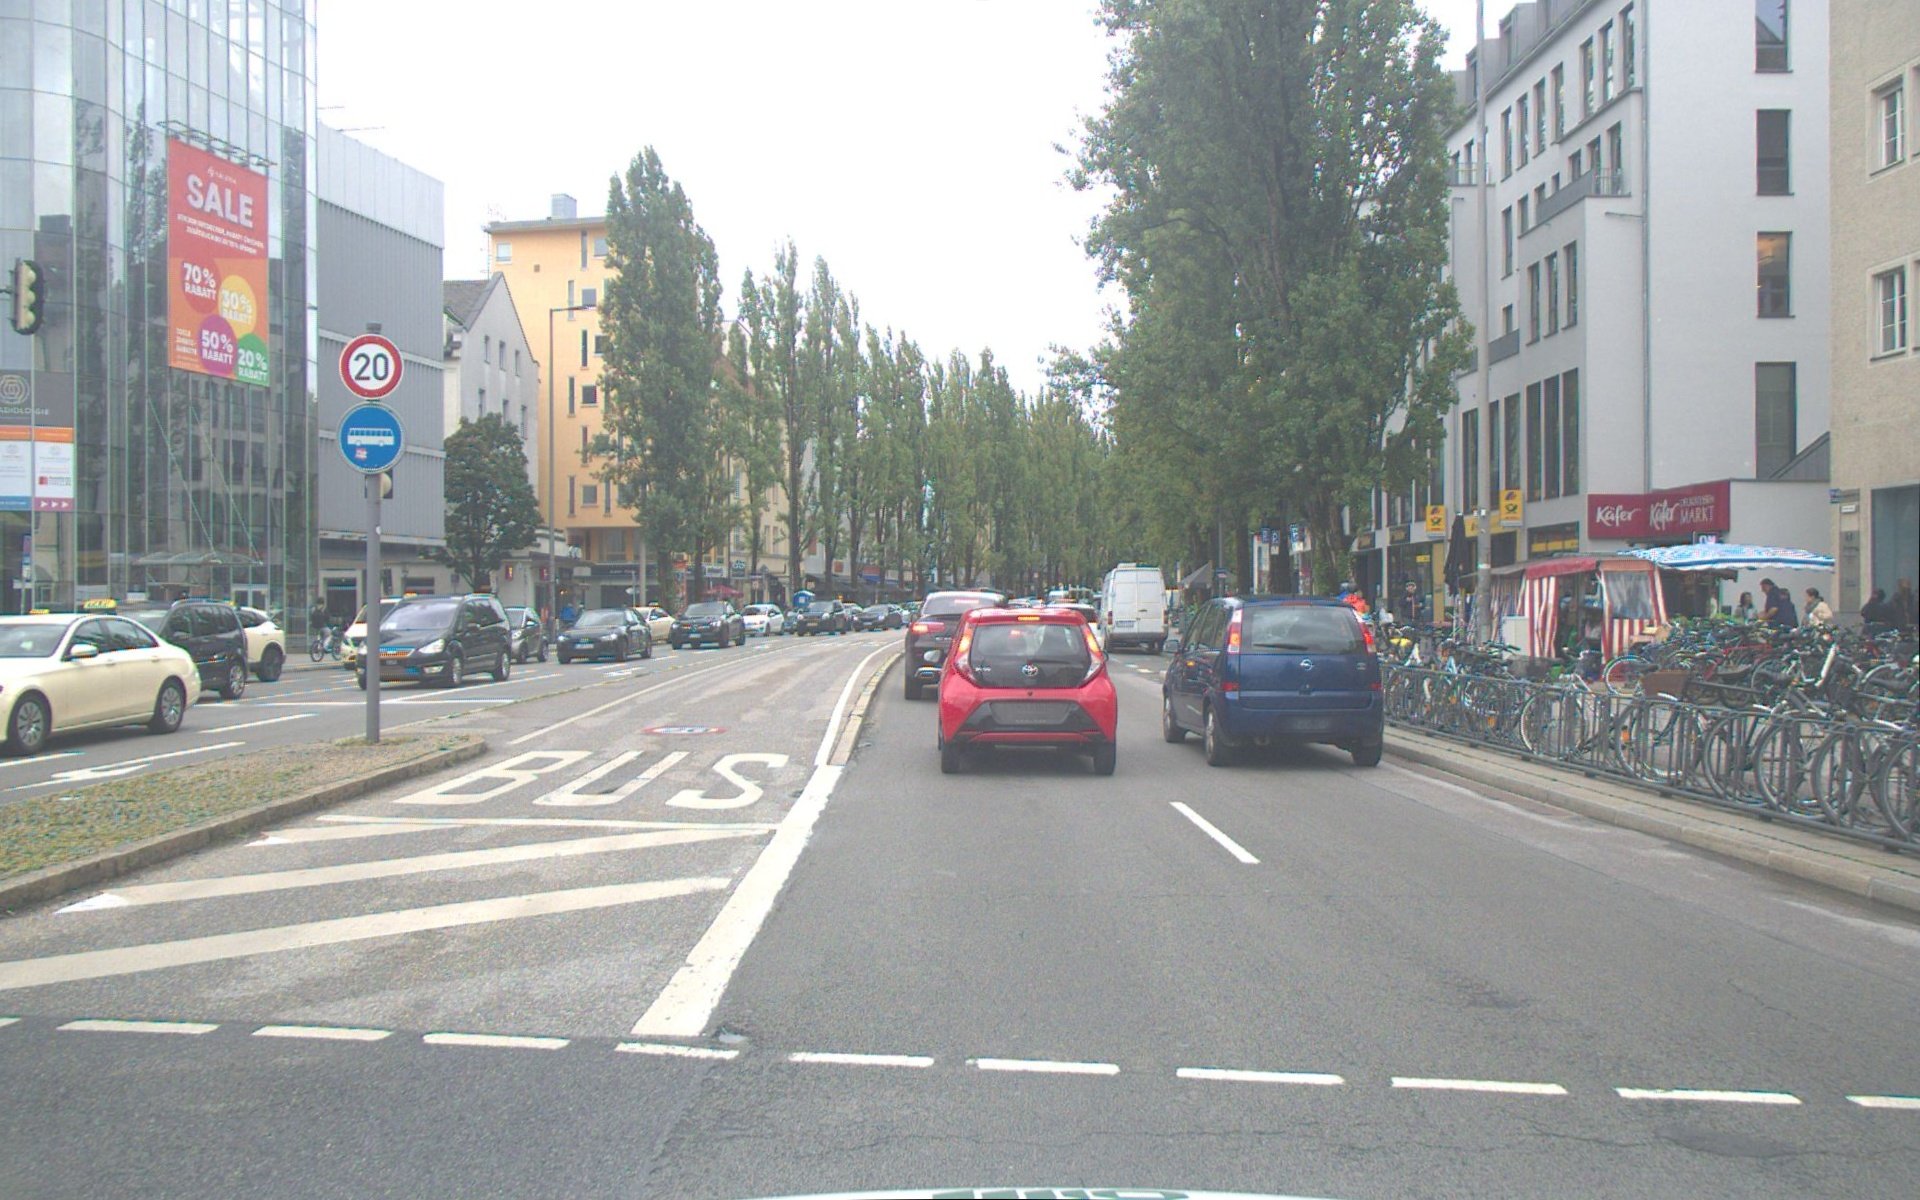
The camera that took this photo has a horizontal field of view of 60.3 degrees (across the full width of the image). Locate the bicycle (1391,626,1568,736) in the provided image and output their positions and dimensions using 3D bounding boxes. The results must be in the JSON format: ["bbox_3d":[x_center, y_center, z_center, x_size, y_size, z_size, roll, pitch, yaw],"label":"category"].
[{"bbox_3d":[5.668,0.859,18.119,1.773,1.130,0.583,0,0,42],"label":"bicycle"}]

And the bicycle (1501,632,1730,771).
[{"bbox_3d":[5.776,0.865,14.617,1.769,1.130,0.649,-1,0,37],"label":"bicycle"}]

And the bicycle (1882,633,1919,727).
[{"bbox_3d":[10.507,0.846,17.648,1.110,0.980,0.369,-1,0,5],"label":"bicycle"}]

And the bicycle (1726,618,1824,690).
[{"bbox_3d":[11.740,0.769,23.833,1.219,0.998,0.369,-1,0,-3],"label":"bicycle"}]

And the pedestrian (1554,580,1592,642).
[{"bbox_3d":[16.351,0.301,44.117,0.717,1.630,0.742,-1,0,-1],"label":"pedestrian"}]

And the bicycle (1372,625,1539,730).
[{"bbox_3d":[5.606,0.856,18.783,1.773,1.130,0.488,0,0,42],"label":"bicycle"}]

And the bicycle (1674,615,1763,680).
[{"bbox_3d":[11.791,0.733,25.725,1.219,0.980,0.369,-1,0,-3],"label":"bicycle"}]

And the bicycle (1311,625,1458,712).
[{"bbox_3d":[5.532,0.875,21.635,1.805,1.070,0.583,0,0,42],"label":"bicycle"}]

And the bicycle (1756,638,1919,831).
[{"bbox_3d":[6.063,0.844,10.528,1.765,1.178,0.486,-1,0,29],"label":"bicycle"}]

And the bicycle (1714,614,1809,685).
[{"bbox_3d":[11.822,0.726,24.410,1.219,0.998,0.369,-1,0,-3],"label":"bicycle"}]

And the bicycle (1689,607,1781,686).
[{"bbox_3d":[11.719,0.696,25.022,1.219,1.160,0.369,-1,0,-3],"label":"bicycle"}]

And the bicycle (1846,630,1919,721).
[{"bbox_3d":[10.490,0.829,18.298,1.156,0.980,0.369,-1,0,3],"label":"bicycle"}]

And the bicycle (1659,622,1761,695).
[{"bbox_3d":[10.494,0.817,23.149,1.235,0.980,0.369,-1,0,2],"label":"bicycle"}]

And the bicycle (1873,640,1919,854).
[{"bbox_3d":[6.045,0.822,9.057,1.769,1.178,0.546,-1,0,37],"label":"bicycle"}]

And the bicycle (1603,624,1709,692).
[{"bbox_3d":[10.357,0.857,24.636,1.401,0.980,0.369,-1,0,5],"label":"bicycle"}]

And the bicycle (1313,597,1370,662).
[{"bbox_3d":[8.052,0.599,34.967,0.601,1.287,2.519,-1,0,0],"label":"bicycle"}]

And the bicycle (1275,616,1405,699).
[{"bbox_3d":[5.582,0.828,24.368,1.805,1.156,0.583,0,0,42],"label":"bicycle"}]

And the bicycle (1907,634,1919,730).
[{"bbox_3d":[10.528,0.847,17.209,1.110,0.980,0.369,-1,0,5],"label":"bicycle"}]

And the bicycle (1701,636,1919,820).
[{"bbox_3d":[5.998,0.840,11.182,1.765,1.178,0.486,-1,0,30],"label":"bicycle"}]

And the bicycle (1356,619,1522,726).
[{"bbox_3d":[5.616,0.824,19.447,1.805,1.188,0.583,0,0,42],"label":"bicycle"}]

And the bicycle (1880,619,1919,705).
[{"bbox_3d":[11.647,0.726,19.702,1.220,0.998,0.369,-1,0,-7],"label":"bicycle"}]

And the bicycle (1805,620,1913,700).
[{"bbox_3d":[11.695,0.775,21.535,1.219,0.998,0.369,-1,0,-4],"label":"bicycle"}]

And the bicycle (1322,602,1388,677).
[{"bbox_3d":[7.275,0.702,30.586,0.601,1.287,2.519,-1,0,0],"label":"bicycle"}]

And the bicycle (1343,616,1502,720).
[{"bbox_3d":[5.634,0.806,20.229,1.805,1.218,0.583,0,0,42],"label":"bicycle"}]

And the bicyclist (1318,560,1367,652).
[{"bbox_3d":[8.052,0.124,34.878,0.747,1.902,1.133,-1,0,0],"label":"bicyclist"}]

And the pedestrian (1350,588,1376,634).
[{"bbox_3d":[14.037,0.384,57.593,0.698,1.585,0.676,-1,0,-1],"label":"pedestrian"}]

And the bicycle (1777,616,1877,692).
[{"bbox_3d":[11.873,0.730,22.656,1.221,0.998,0.368,-1,0,-10],"label":"bicycle"}]

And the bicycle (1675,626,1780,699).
[{"bbox_3d":[10.506,0.853,22.666,1.234,0.980,0.369,-1,0,9],"label":"bicycle"}]

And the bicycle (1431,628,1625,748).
[{"bbox_3d":[5.715,0.862,16.693,1.772,1.130,0.559,0,0,41],"label":"bicycle"}]

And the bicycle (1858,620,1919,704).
[{"bbox_3d":[11.726,0.747,20.317,1.220,0.998,0.369,-1,0,-7],"label":"bicycle"}]

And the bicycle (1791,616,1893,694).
[{"bbox_3d":[11.808,0.729,22.154,1.221,0.998,0.368,-1,0,-10],"label":"bicycle"}]

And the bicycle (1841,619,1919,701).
[{"bbox_3d":[11.803,0.748,20.886,1.221,0.998,0.368,-1,0,-10],"label":"bicycle"}]

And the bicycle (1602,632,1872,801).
[{"bbox_3d":[5.876,0.847,12.557,1.768,1.178,0.650,-1,0,35],"label":"bicycle"}]

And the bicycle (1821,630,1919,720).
[{"bbox_3d":[10.479,0.847,18.841,1.157,0.980,0.369,-1,0,-3],"label":"bicycle"}]

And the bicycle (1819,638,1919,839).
[{"bbox_3d":[6.138,0.824,9.869,1.763,1.178,0.486,-1,0,25],"label":"bicycle"}]

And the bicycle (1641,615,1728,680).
[{"bbox_3d":[11.485,0.749,26.232,1.219,0.980,0.369,-1,0,-3],"label":"bicycle"}]

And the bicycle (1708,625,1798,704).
[{"bbox_3d":[10.483,0.842,21.861,1.208,0.980,0.367,-1,0,-23],"label":"bicycle"}]

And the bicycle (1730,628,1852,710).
[{"bbox_3d":[10.366,0.854,20.640,1.375,0.980,0.369,-1,0,-6],"label":"bicycle"}]

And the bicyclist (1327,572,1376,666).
[{"bbox_3d":[7.260,0.343,30.722,0.601,1.686,1.251,-1,0,0],"label":"bicyclist"}]

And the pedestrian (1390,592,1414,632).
[{"bbox_3d":[14.822,0.411,55.487,0.625,1.329,0.676,-1,0,-1],"label":"pedestrian"}]
